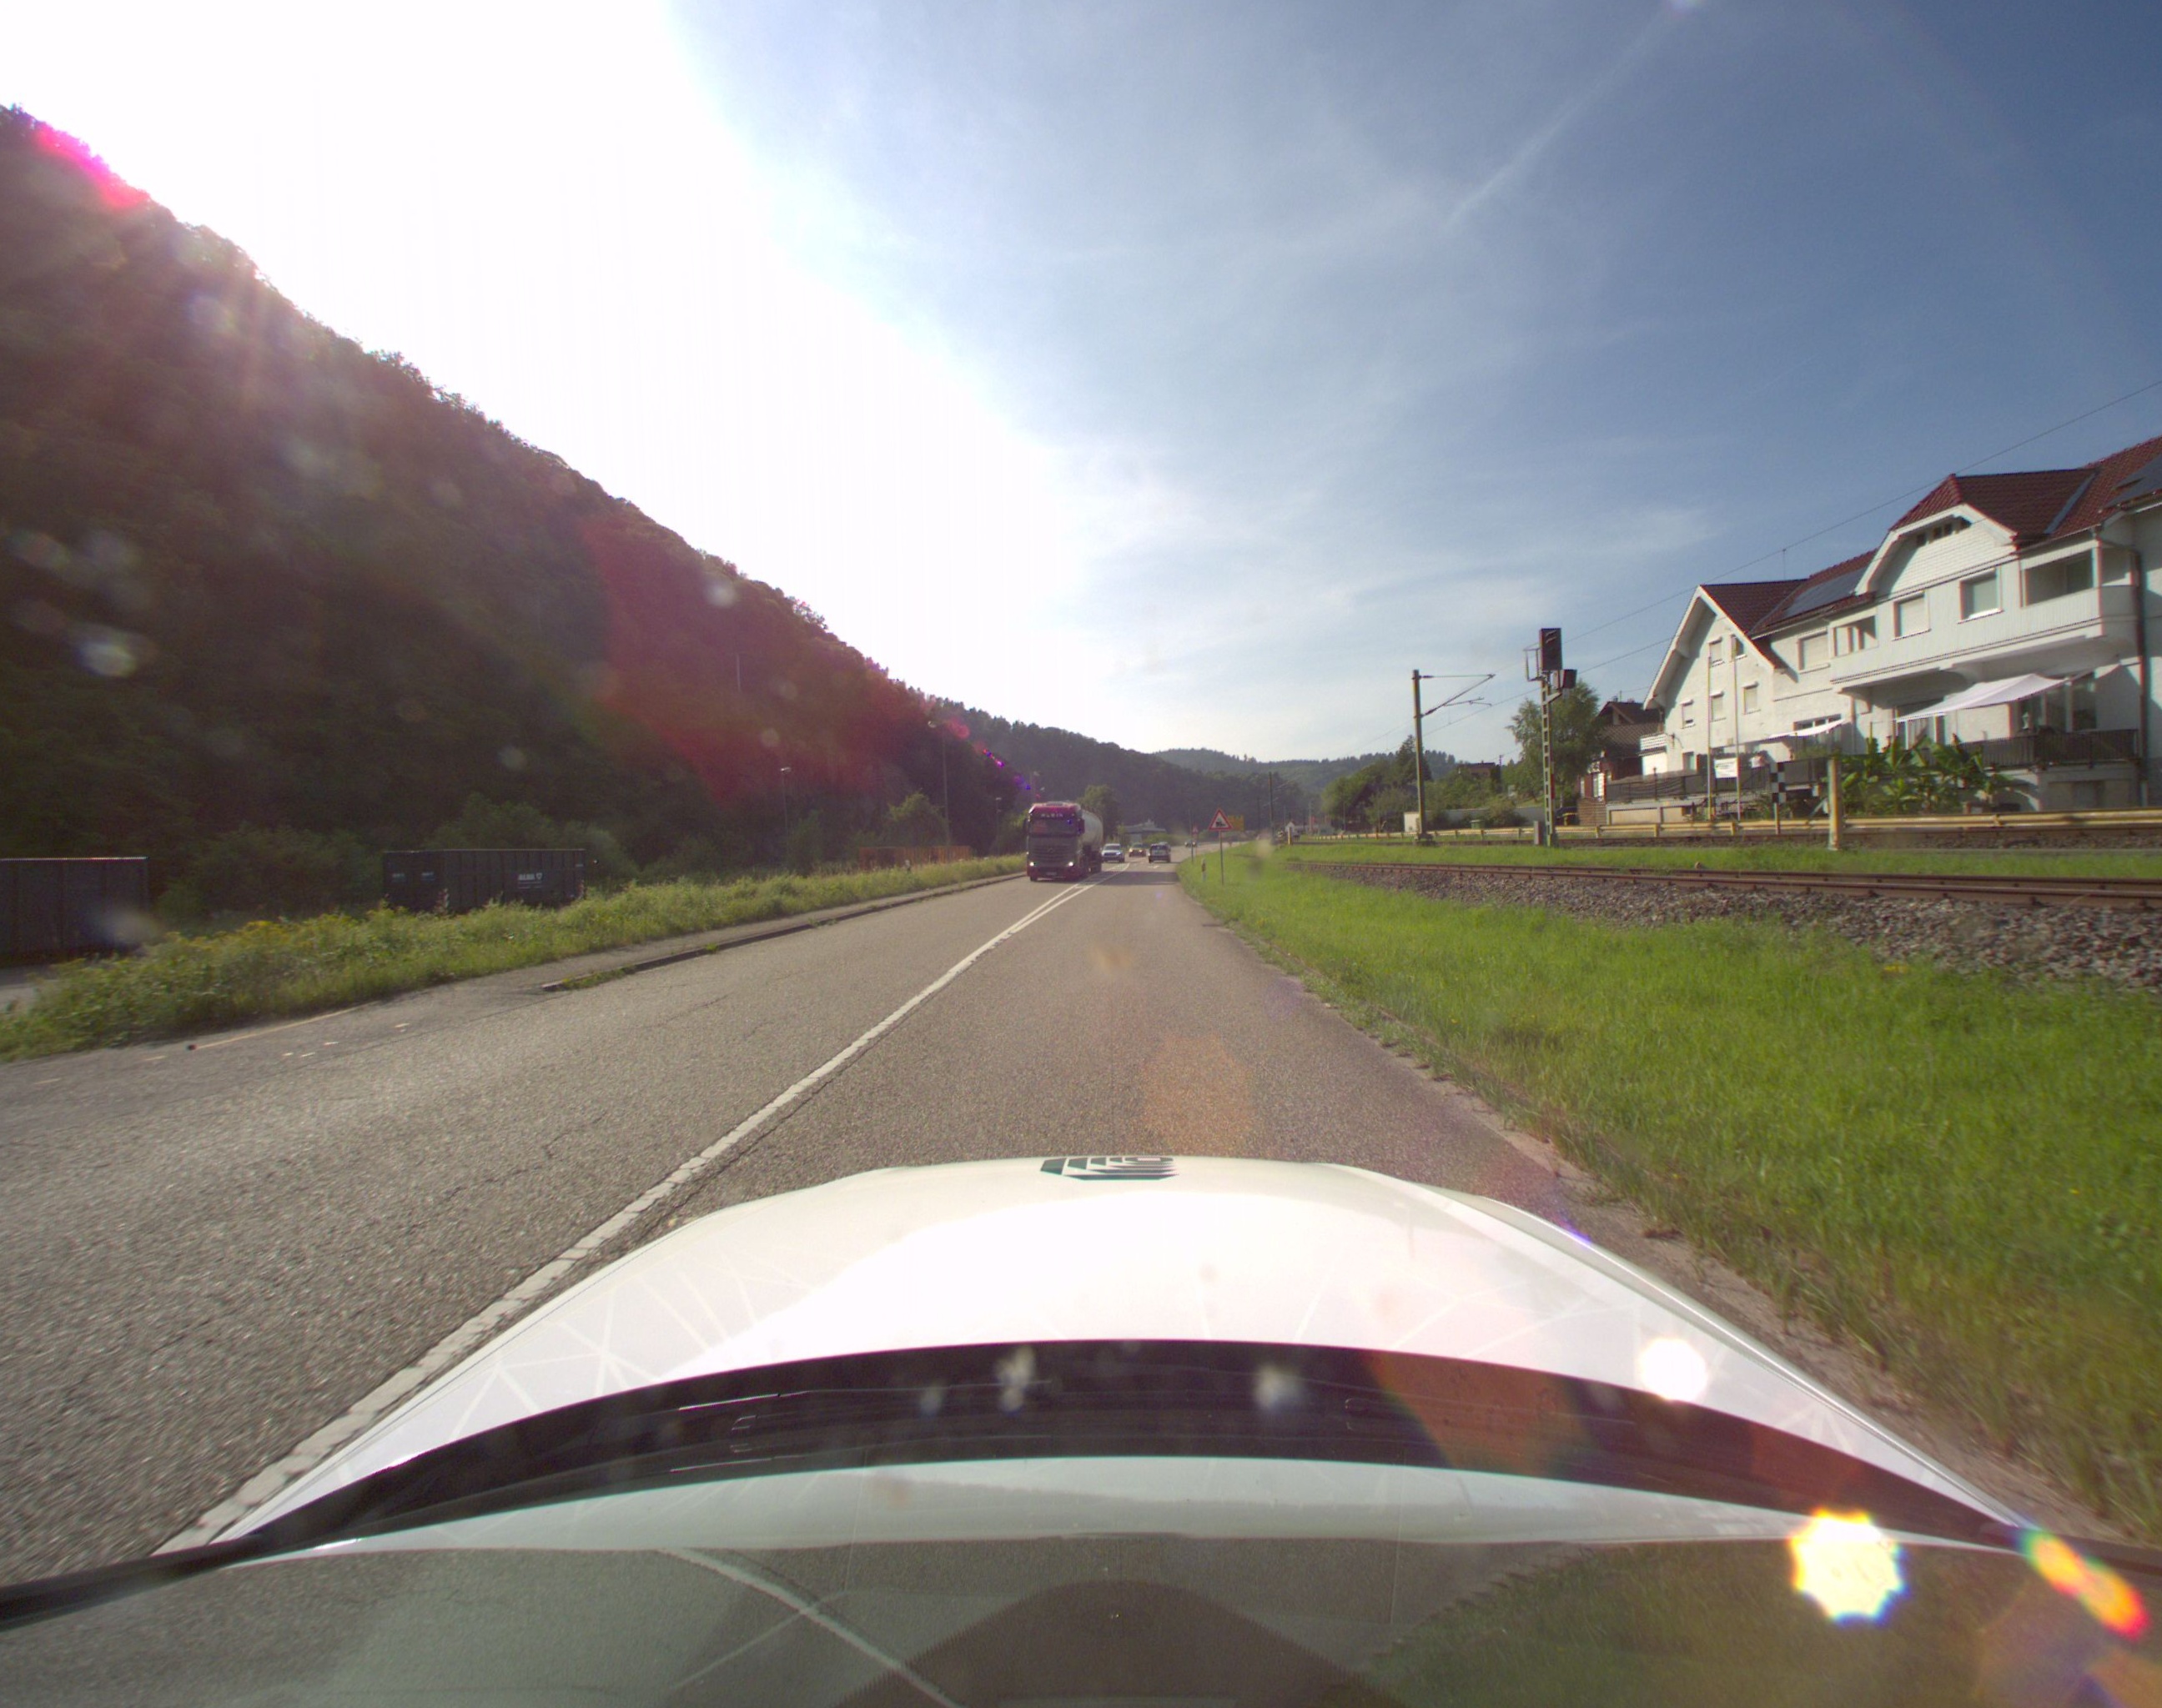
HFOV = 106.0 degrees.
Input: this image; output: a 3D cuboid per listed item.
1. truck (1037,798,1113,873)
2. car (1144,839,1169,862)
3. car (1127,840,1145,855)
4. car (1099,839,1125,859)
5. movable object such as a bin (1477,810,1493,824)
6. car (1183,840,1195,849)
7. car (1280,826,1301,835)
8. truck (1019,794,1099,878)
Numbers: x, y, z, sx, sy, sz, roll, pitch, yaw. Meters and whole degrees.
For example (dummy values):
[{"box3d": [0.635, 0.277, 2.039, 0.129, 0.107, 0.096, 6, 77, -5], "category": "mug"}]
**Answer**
[{"box3d": [-0.044, -1.056, 49.270, 2.735, 3.835, 14.590, -1, 1, 7], "category": "truck"}, {"box3d": [6.568, -0.315, 70.753, 1.984, 1.723, 3.995, -4, 0, 5], "category": "car"}, {"box3d": [6.354, -0.795, 93.566, 1.714, 1.624, 3.805, -1, 1, 8], "category": "car"}, {"box3d": [2.815, -0.459, 72.837, 1.984, 1.758, 4.476, 0, 1, 5], "category": "car"}, {"box3d": [29.837, -2.718, 60.182, 0.803, 1.050, 0.914, -1, 1, 9], "category": "movable object such as a bin"}, {"box3d": [19.276, -1.717, 145.358, 1.836, 1.585, 4.328, -1, 1, 9], "category": "car"}, {"box3d": [56.625, -6.388, 219.655, 5.237, 2.013, 2.009, -4, 0, 17], "category": "car"}, {"box3d": [-0.939, -0.880, 41.567, 2.735, 3.835, 8.216, -1, 1, 7], "category": "truck"}]
